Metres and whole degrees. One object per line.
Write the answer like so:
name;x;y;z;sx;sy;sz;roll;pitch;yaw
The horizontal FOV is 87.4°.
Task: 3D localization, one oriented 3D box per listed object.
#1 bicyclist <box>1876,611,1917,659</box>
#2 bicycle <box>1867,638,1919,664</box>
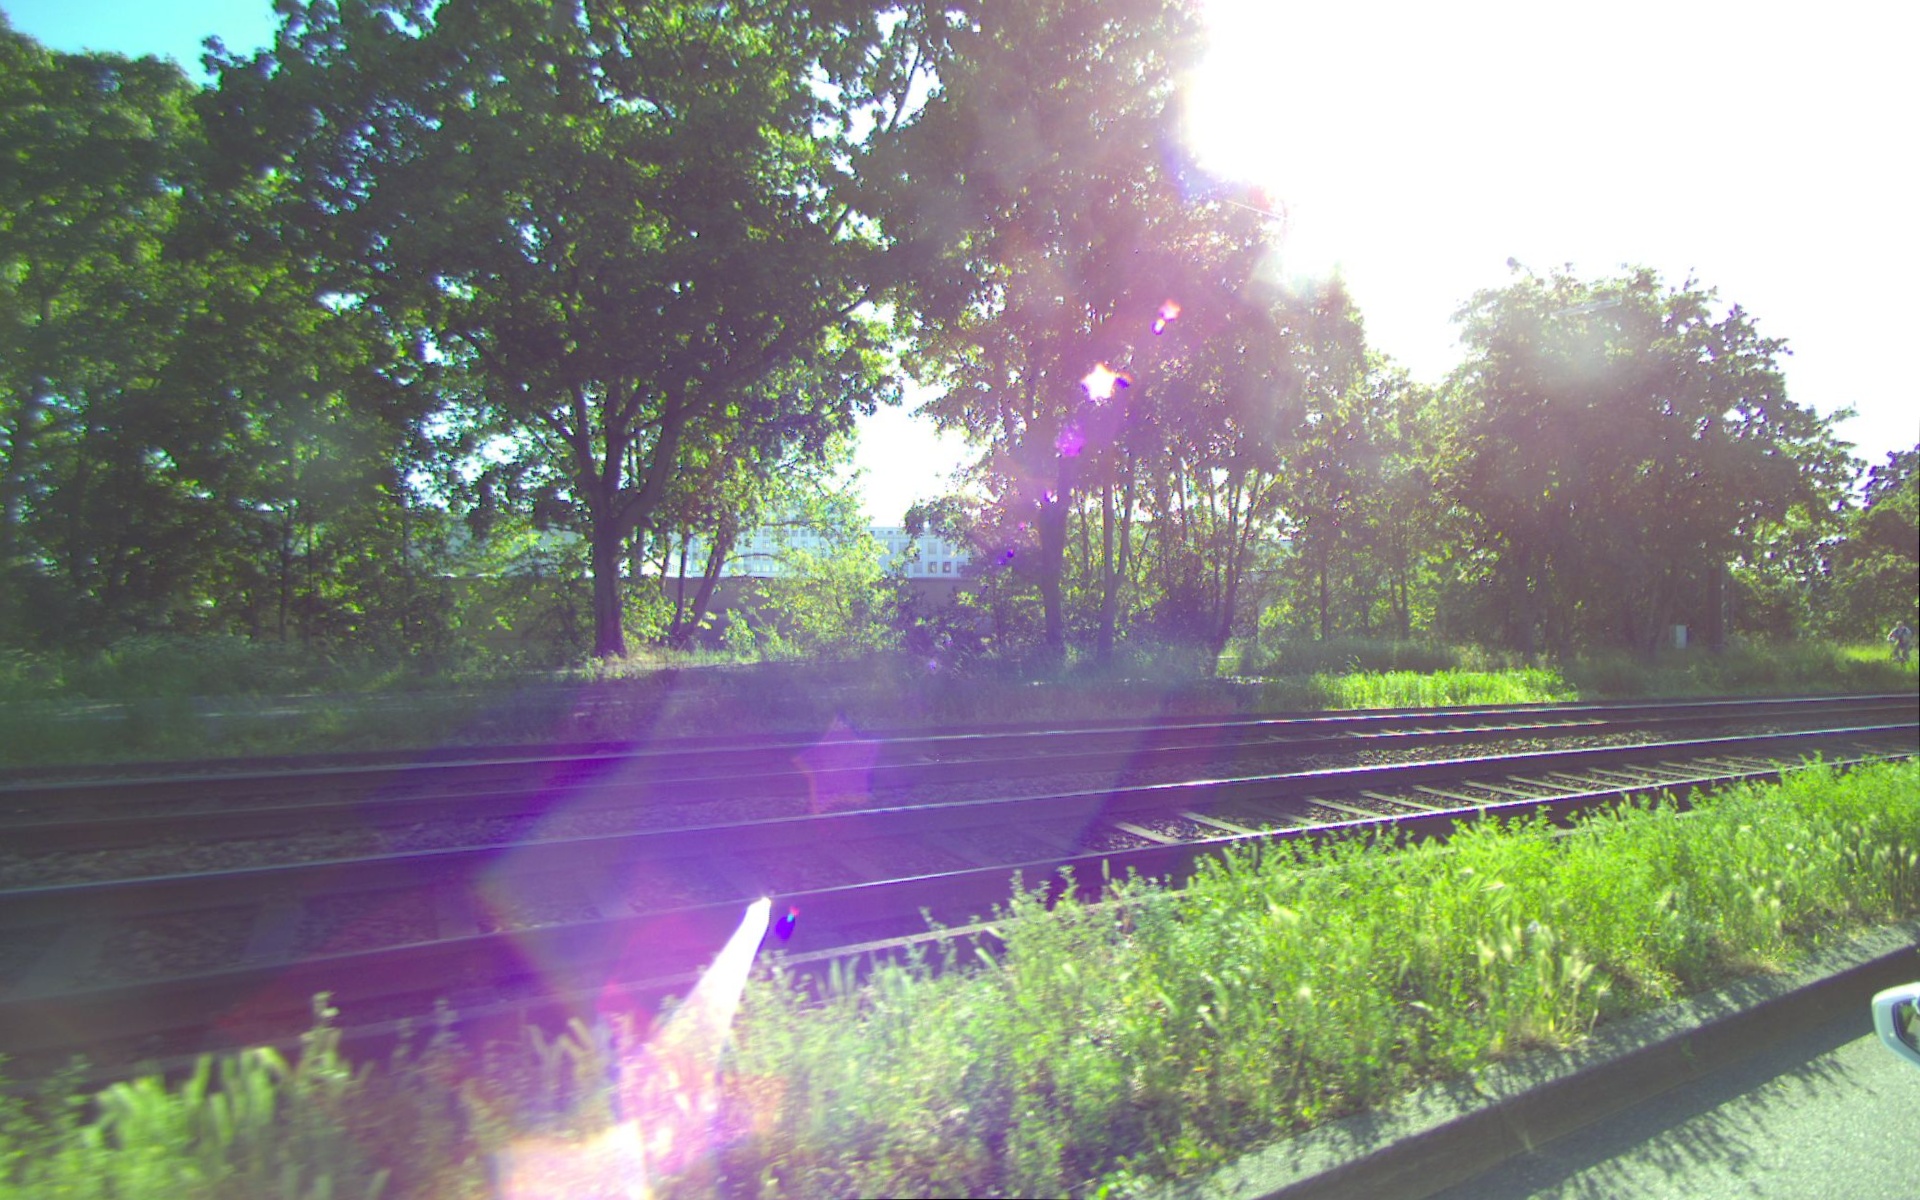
bicyclist;35.246;1.300;37.807;0.891;1.759;0.816;2;1;-28
bicycle;35.241;1.928;37.820;2.505;0.926;0.815;2;0;-28
